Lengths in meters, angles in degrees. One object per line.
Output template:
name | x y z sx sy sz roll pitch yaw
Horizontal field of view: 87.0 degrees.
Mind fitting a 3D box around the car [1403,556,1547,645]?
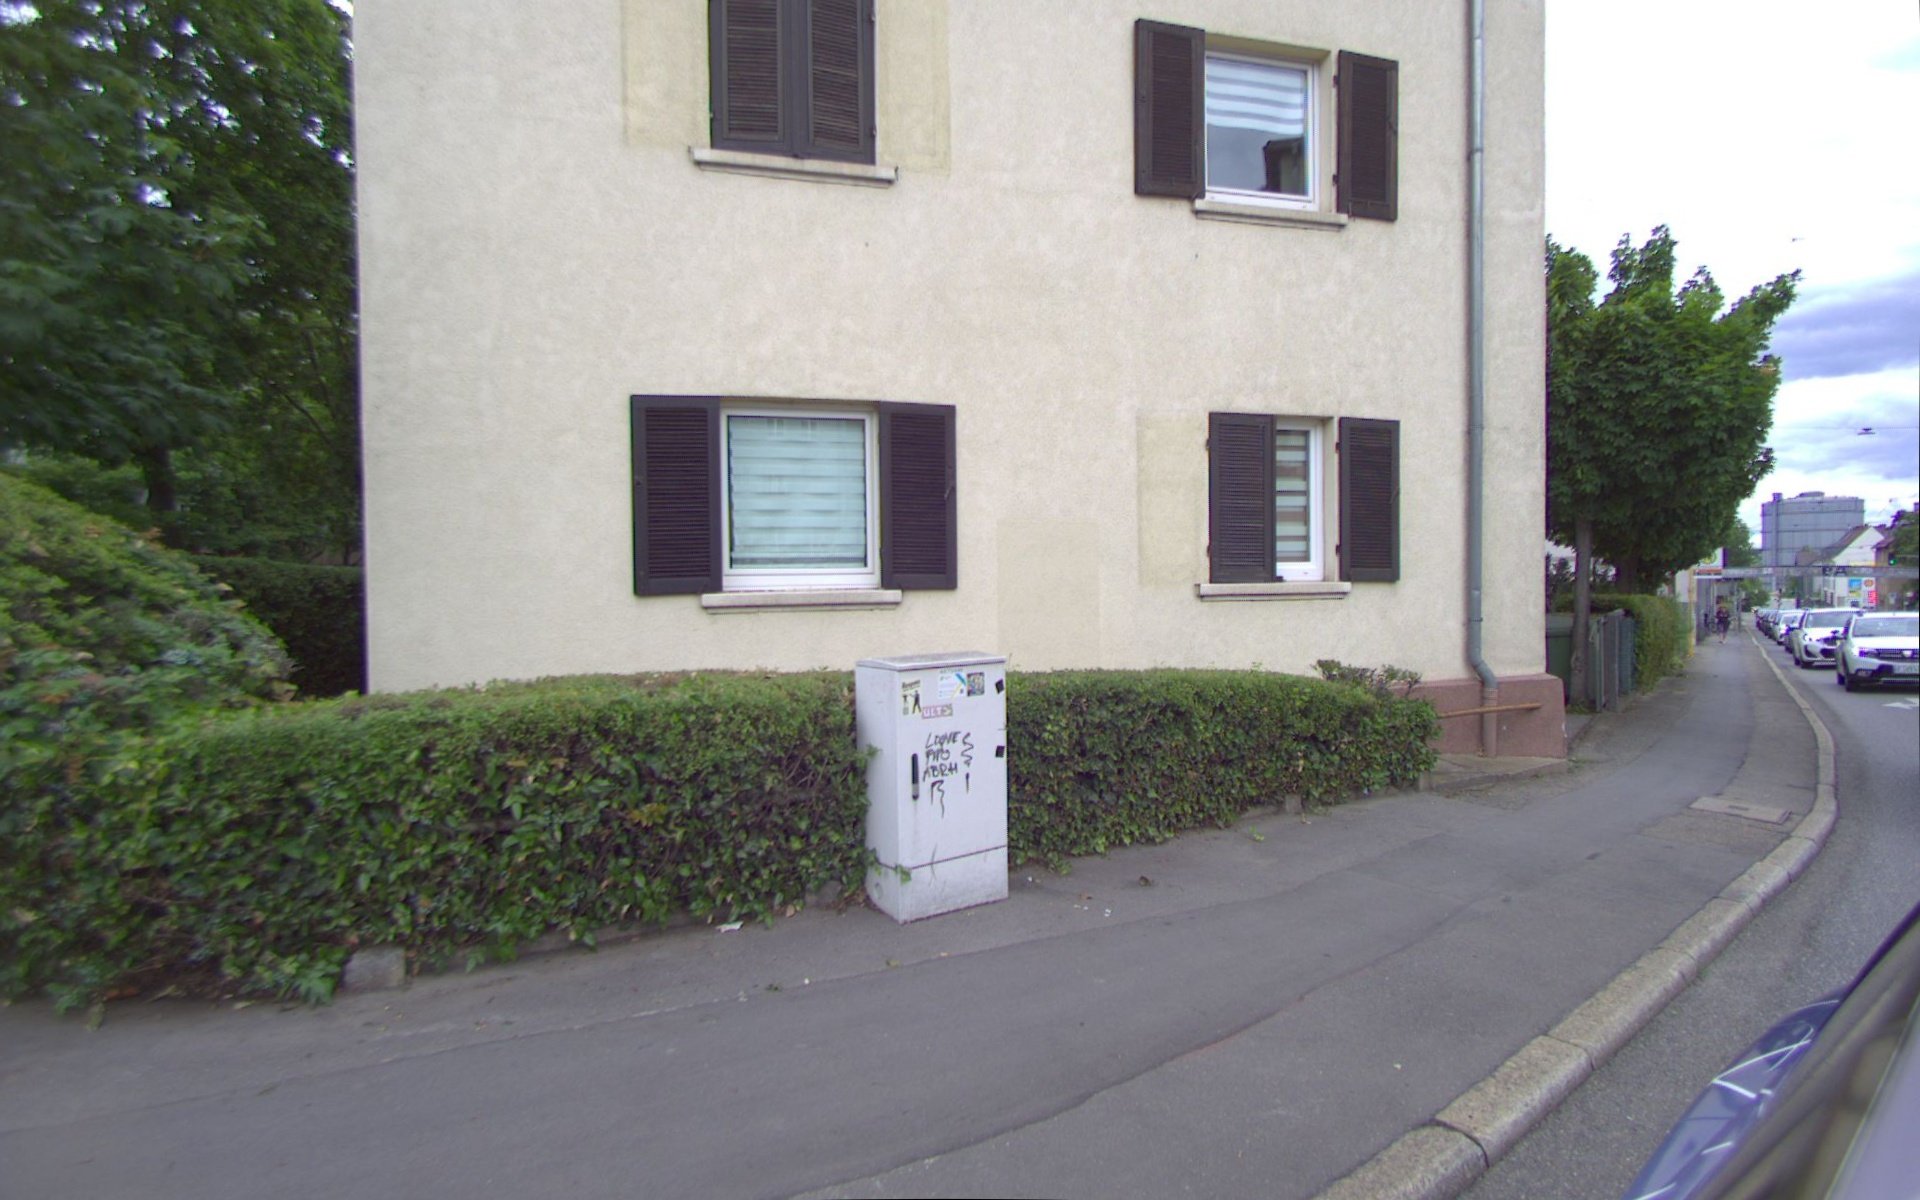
car | 9.525 0.005 18.600 1.693 1.479 3.391 -2 -1 38

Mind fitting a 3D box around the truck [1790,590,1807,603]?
truck | 164.636 -0.681 198.653 2.537 2.569 5.415 0 0 40

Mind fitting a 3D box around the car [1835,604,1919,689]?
car | 18.608 0.853 19.775 1.889 1.529 4.112 -3 -2 36

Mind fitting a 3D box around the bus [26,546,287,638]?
bus | -30.746 -0.301 39.617 2.821 3.088 10.946 0 0 -8

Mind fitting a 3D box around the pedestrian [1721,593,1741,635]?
pedestrian | 34.391 0.610 45.152 0.642 1.864 0.586 -1 -1 31

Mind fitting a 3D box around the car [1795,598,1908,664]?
car | 24.367 0.784 27.802 1.888 1.665 3.949 0 0 35

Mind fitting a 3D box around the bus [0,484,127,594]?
bus | -29.415 -1.799 29.569 2.805 3.148 10.415 0 0 -8
